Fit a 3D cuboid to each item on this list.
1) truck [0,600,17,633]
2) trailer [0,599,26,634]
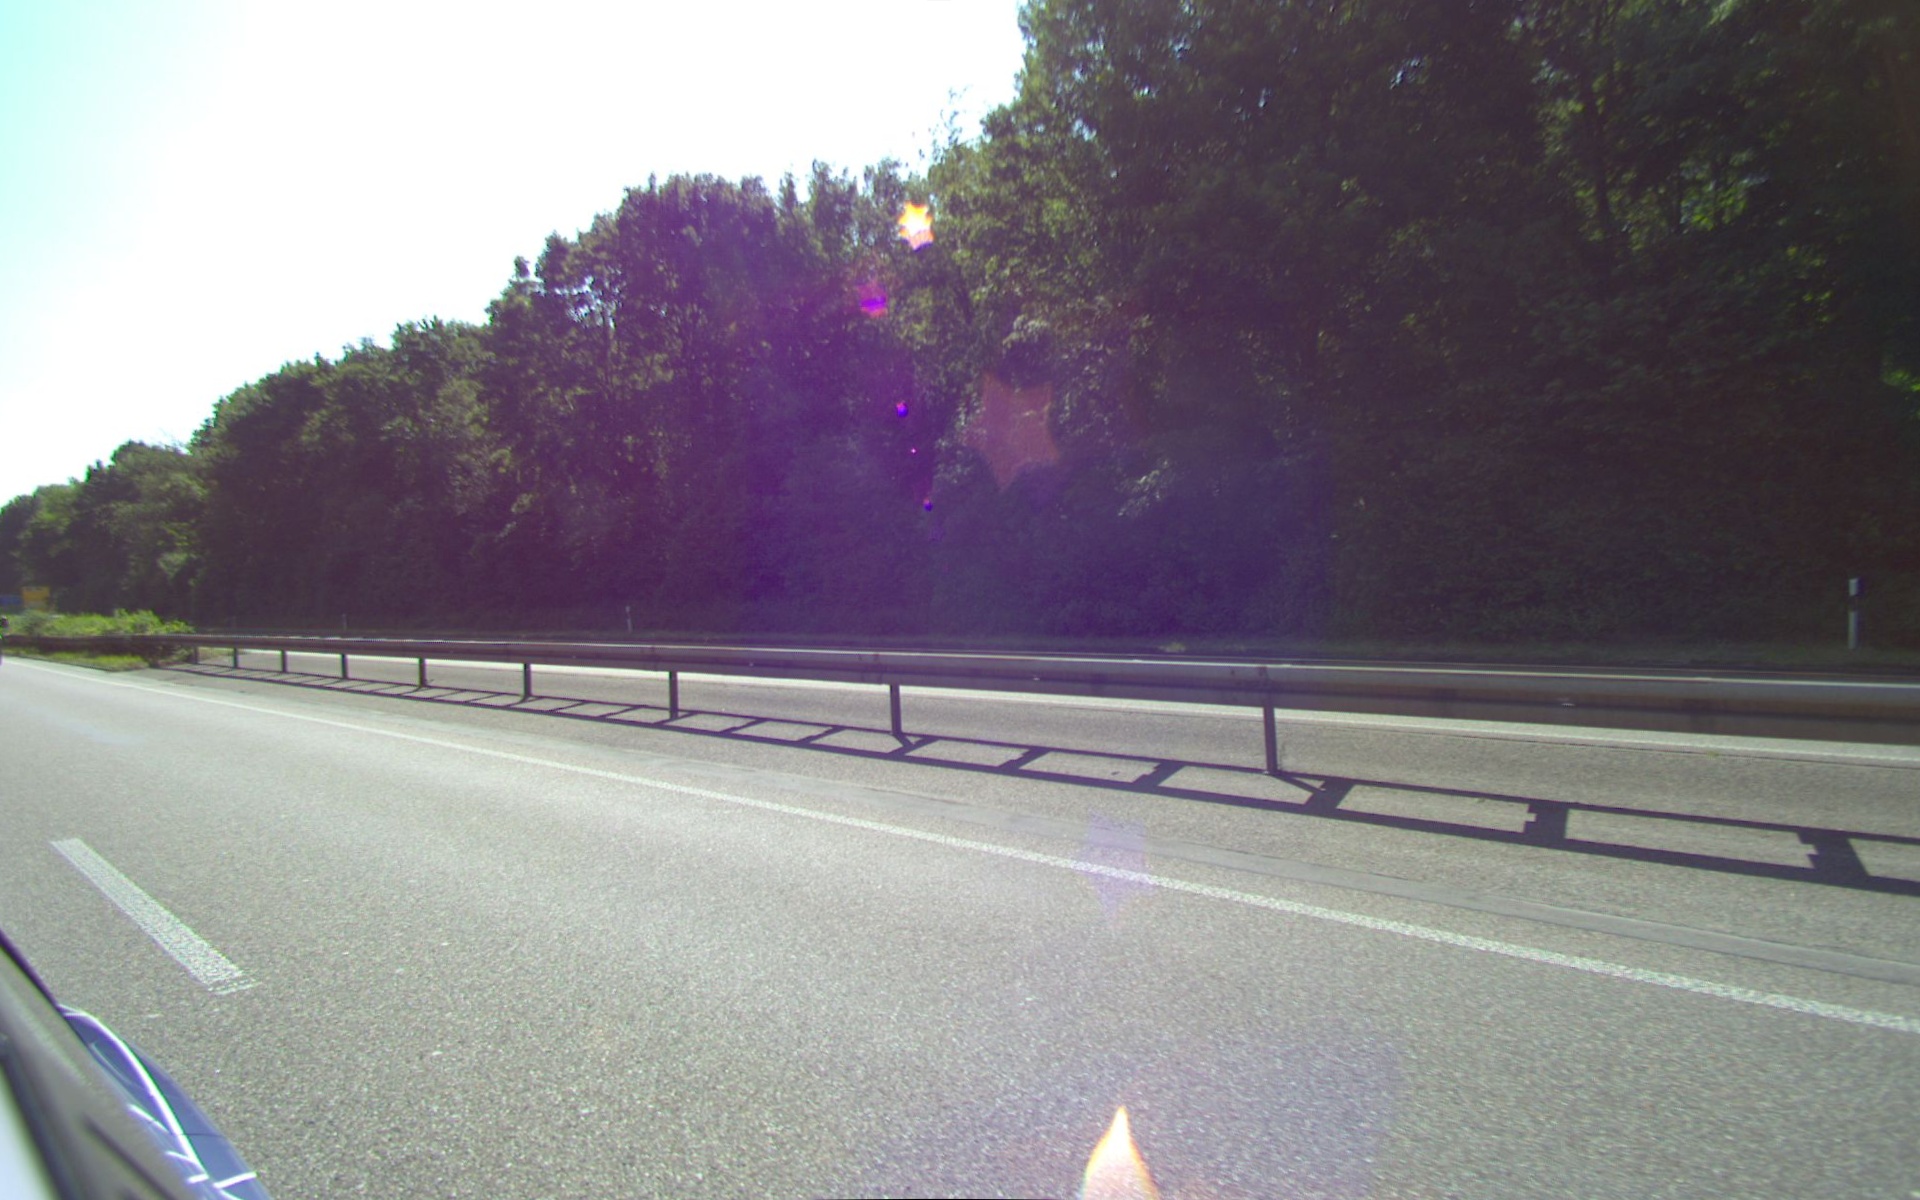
[{"bbox_3d":[-107.491,1.861,113.204,3.998,3.734,2.618,-1,0,41],"label":"truck"},{"bbox_3d":[-104.100,1.820,110.232,7.981,3.740,2.660,-1,0,42],"label":"trailer"}]
